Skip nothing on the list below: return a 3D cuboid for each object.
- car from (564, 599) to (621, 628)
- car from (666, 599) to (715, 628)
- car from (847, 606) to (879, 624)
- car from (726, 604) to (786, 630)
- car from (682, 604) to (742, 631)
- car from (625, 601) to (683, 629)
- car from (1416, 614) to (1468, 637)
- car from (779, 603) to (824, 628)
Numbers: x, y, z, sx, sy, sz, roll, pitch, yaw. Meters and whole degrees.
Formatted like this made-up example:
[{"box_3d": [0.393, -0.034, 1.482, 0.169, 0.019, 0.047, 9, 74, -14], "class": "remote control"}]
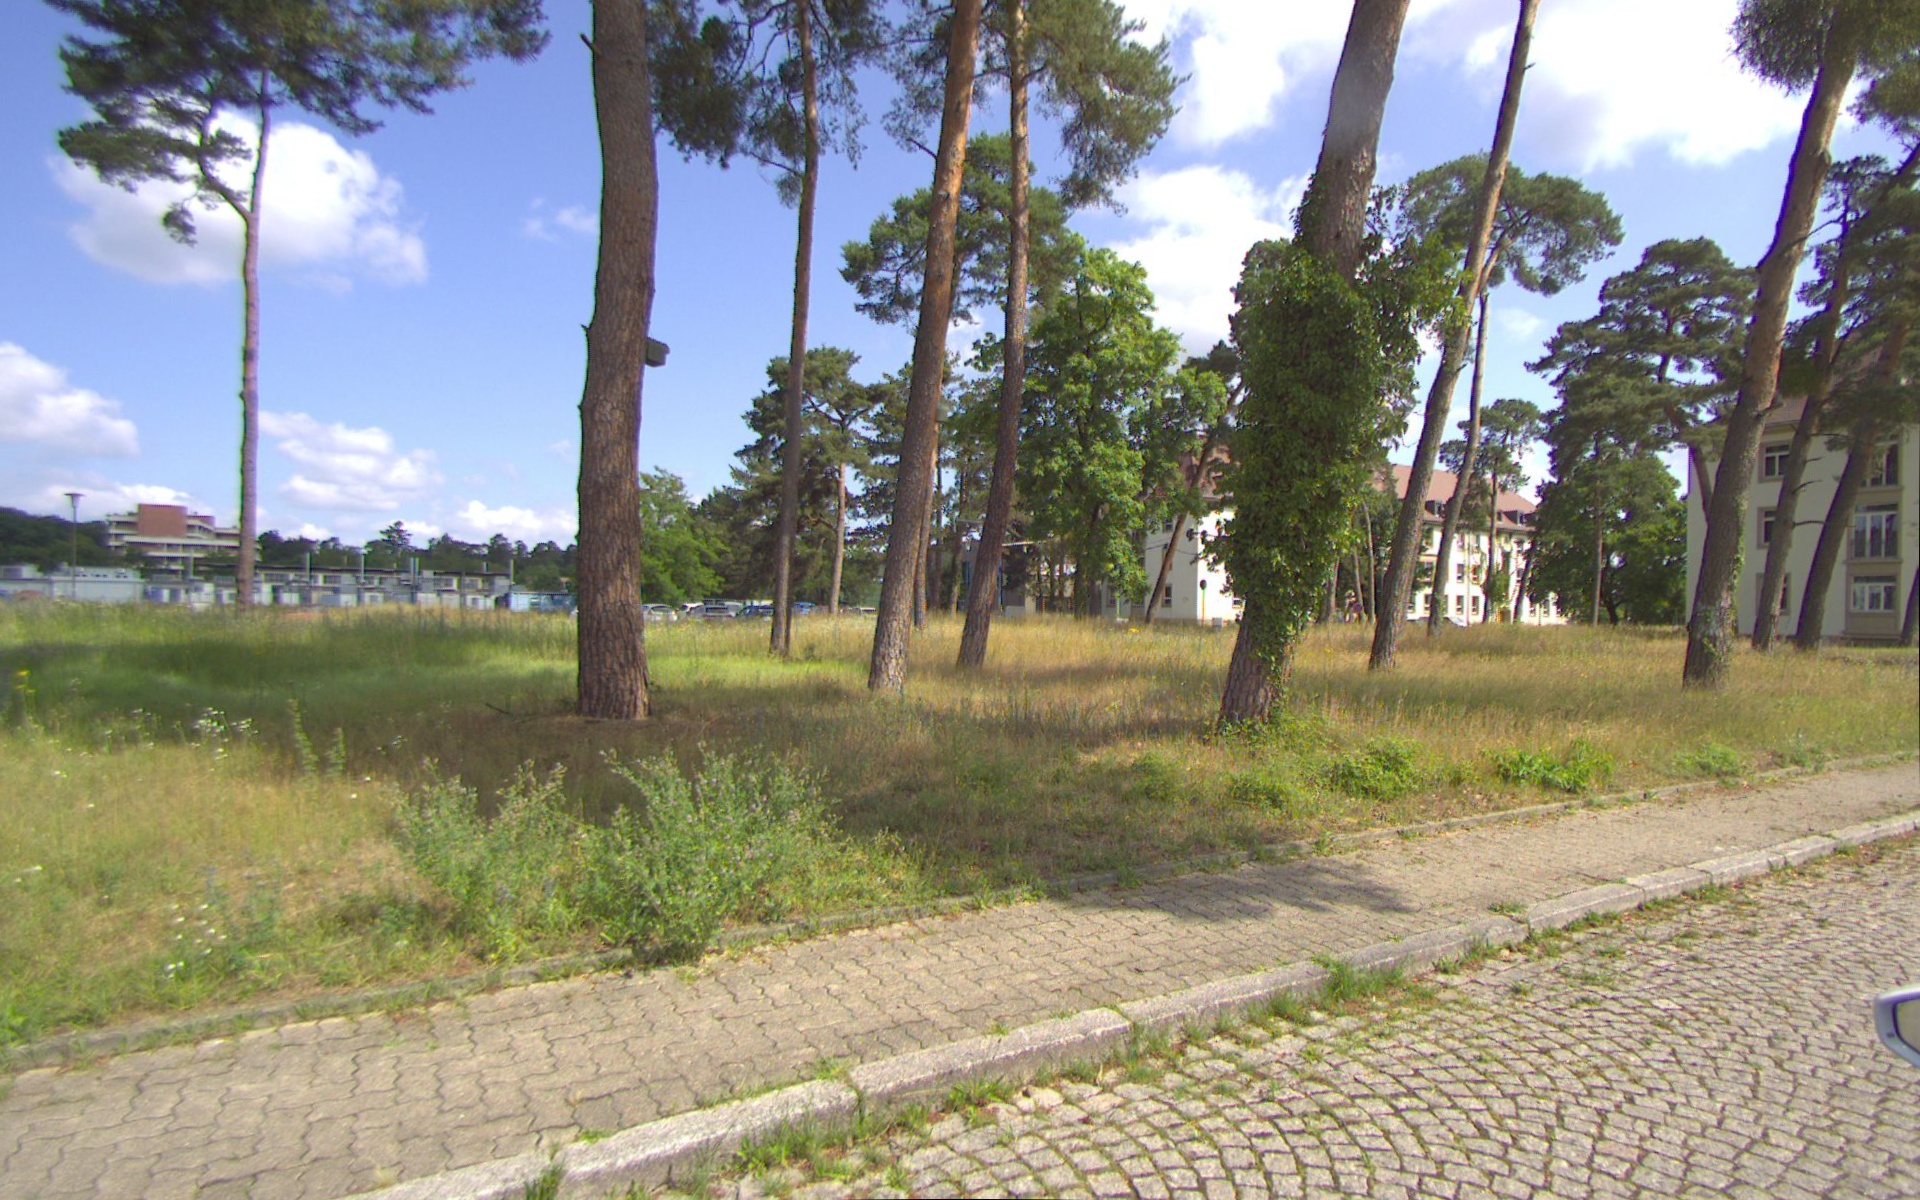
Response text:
[{"box_3d": [-18.198, 0.652, 49.643, 1.879, 1.367, 4.036, 2, -1, -32], "class": "car"}, {"box_3d": [-17.046, 0.840, 63.382, 1.879, 1.724, 4.044, 2, -1, -32], "class": "car"}, {"box_3d": [-12.149, 1.908, 125.473, 3.638, 2.116, 1.722, 1, -1, -22], "class": "car"}, {"box_3d": [-10.910, 0.907, 53.483, 1.879, 1.326, 4.044, 2, -1, -32], "class": "car"}, {"box_3d": [-12.950, 0.896, 52.314, 1.879, 1.337, 4.044, 2, -1, -32], "class": "car"}, {"box_3d": [-15.694, 0.754, 51.483, 1.879, 1.356, 4.044, 2, -1, -32], "class": "car"}, {"box_3d": [44.492, 2.373, 92.757, 1.693, 2.018, 4.040, 1, -1, -30], "class": "car"}, {"box_3d": [-11.829, 1.141, 74.872, 1.879, 1.803, 4.044, 2, -1, -32], "class": "car"}]
